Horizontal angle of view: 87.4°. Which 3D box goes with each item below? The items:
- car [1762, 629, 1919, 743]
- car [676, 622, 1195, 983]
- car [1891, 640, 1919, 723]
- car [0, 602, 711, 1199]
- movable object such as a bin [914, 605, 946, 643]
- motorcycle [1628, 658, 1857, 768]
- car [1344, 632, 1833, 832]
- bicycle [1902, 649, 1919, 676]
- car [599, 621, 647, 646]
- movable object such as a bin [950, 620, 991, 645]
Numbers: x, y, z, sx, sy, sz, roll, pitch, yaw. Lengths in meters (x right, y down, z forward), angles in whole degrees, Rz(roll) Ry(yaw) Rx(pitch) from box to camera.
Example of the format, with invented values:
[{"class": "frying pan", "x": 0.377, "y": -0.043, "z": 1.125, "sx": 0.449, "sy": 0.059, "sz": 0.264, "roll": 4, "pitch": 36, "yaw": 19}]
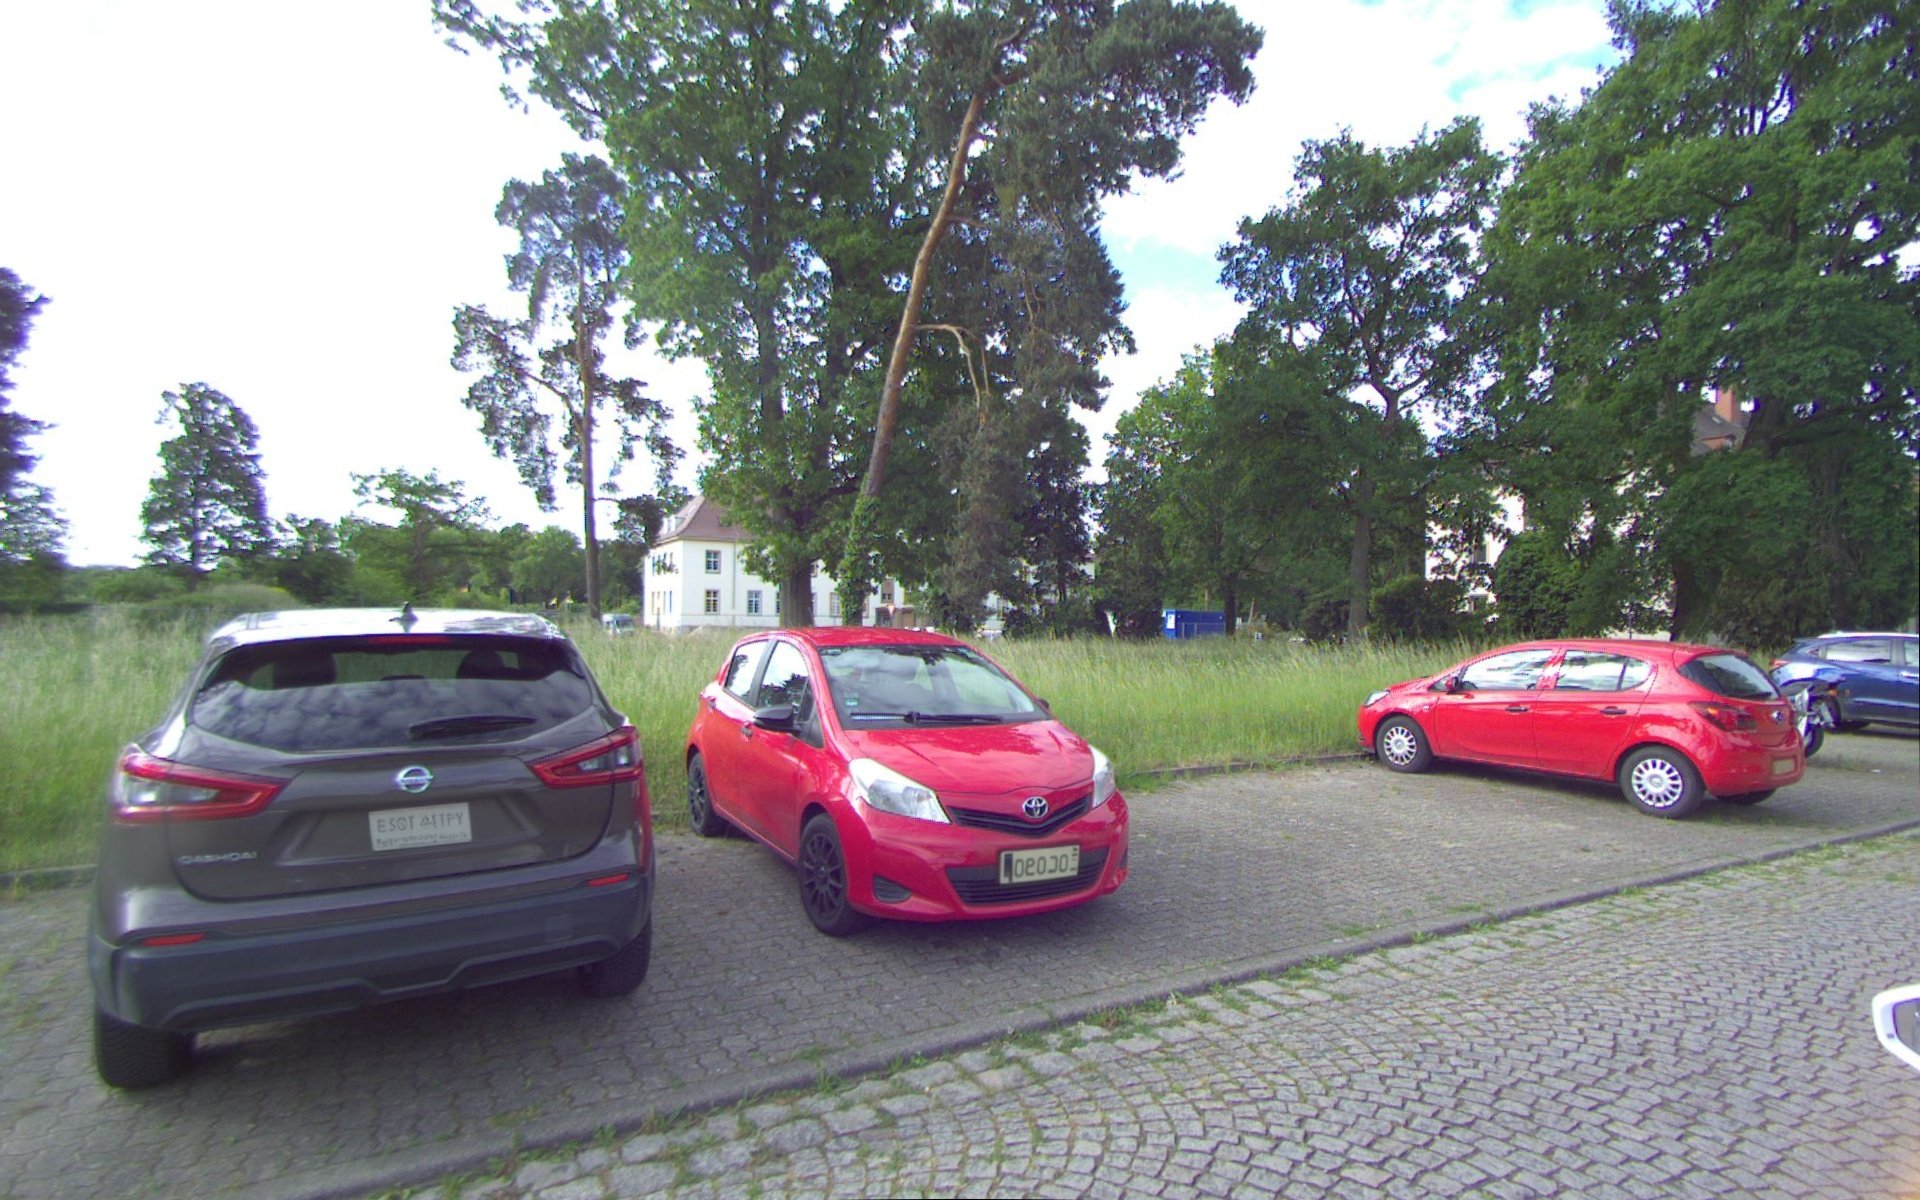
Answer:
[{"class": "car", "x": 14.820, "y": 1.283, "z": 15.051, "sx": 1.767, "sy": 1.625, "sz": 4.051, "roll": 1, "pitch": -1, "yaw": -31}, {"class": "car", "x": -0.469, "y": 0.921, "z": 6.413, "sx": 1.740, "sy": 1.506, "sz": 3.799, "roll": 1, "pitch": -1, "yaw": -29}, {"class": "car", "x": 18.918, "y": 1.493, "z": 17.223, "sx": 1.604, "sy": 1.486, "sz": 4.058, "roll": 1, "pitch": -1, "yaw": -26}, {"class": "car", "x": -2.743, "y": 0.835, "z": 4.837, "sx": 1.932, "sy": 1.596, "sz": 4.048, "roll": 1, "pitch": -1, "yaw": -30}, {"class": "movable object such as a bin", "x": -3.076, "y": 2.492, "z": 102.371, "sx": 2.104, "sy": 3.689, "sz": 6.122, "roll": 2, "pitch": -2, "yaw": -12}, {"class": "motorcycle", "x": 9.740, "y": 1.359, "z": 12.625, "sx": 0.638, "sy": 1.174, "sz": 2.218, "roll": 1, "pitch": -1, "yaw": -26}, {"class": "car", "x": 6.006, "y": 1.113, "z": 10.066, "sx": 1.767, "sy": 1.509, "sz": 3.797, "roll": 1, "pitch": -1, "yaw": -30}, {"class": "bicycle", "x": 39.150, "y": 2.535, "z": 40.495, "sx": 1.682, "sy": 1.067, "sz": 0.572, "roll": 0, "pitch": -3, "yaw": 41}, {"class": "car", "x": -31.013, "y": 3.065, "z": 92.435, "sx": 2.350, "sy": 2.143, "sz": 5.761, "roll": 4, "pitch": -3, "yaw": -38}, {"class": "movable object such as a bin", "x": 0.994, "y": 3.154, "z": 97.995, "sx": 2.348, "sy": 2.283, "sz": 4.495, "roll": 3, "pitch": -2, "yaw": -24}]
